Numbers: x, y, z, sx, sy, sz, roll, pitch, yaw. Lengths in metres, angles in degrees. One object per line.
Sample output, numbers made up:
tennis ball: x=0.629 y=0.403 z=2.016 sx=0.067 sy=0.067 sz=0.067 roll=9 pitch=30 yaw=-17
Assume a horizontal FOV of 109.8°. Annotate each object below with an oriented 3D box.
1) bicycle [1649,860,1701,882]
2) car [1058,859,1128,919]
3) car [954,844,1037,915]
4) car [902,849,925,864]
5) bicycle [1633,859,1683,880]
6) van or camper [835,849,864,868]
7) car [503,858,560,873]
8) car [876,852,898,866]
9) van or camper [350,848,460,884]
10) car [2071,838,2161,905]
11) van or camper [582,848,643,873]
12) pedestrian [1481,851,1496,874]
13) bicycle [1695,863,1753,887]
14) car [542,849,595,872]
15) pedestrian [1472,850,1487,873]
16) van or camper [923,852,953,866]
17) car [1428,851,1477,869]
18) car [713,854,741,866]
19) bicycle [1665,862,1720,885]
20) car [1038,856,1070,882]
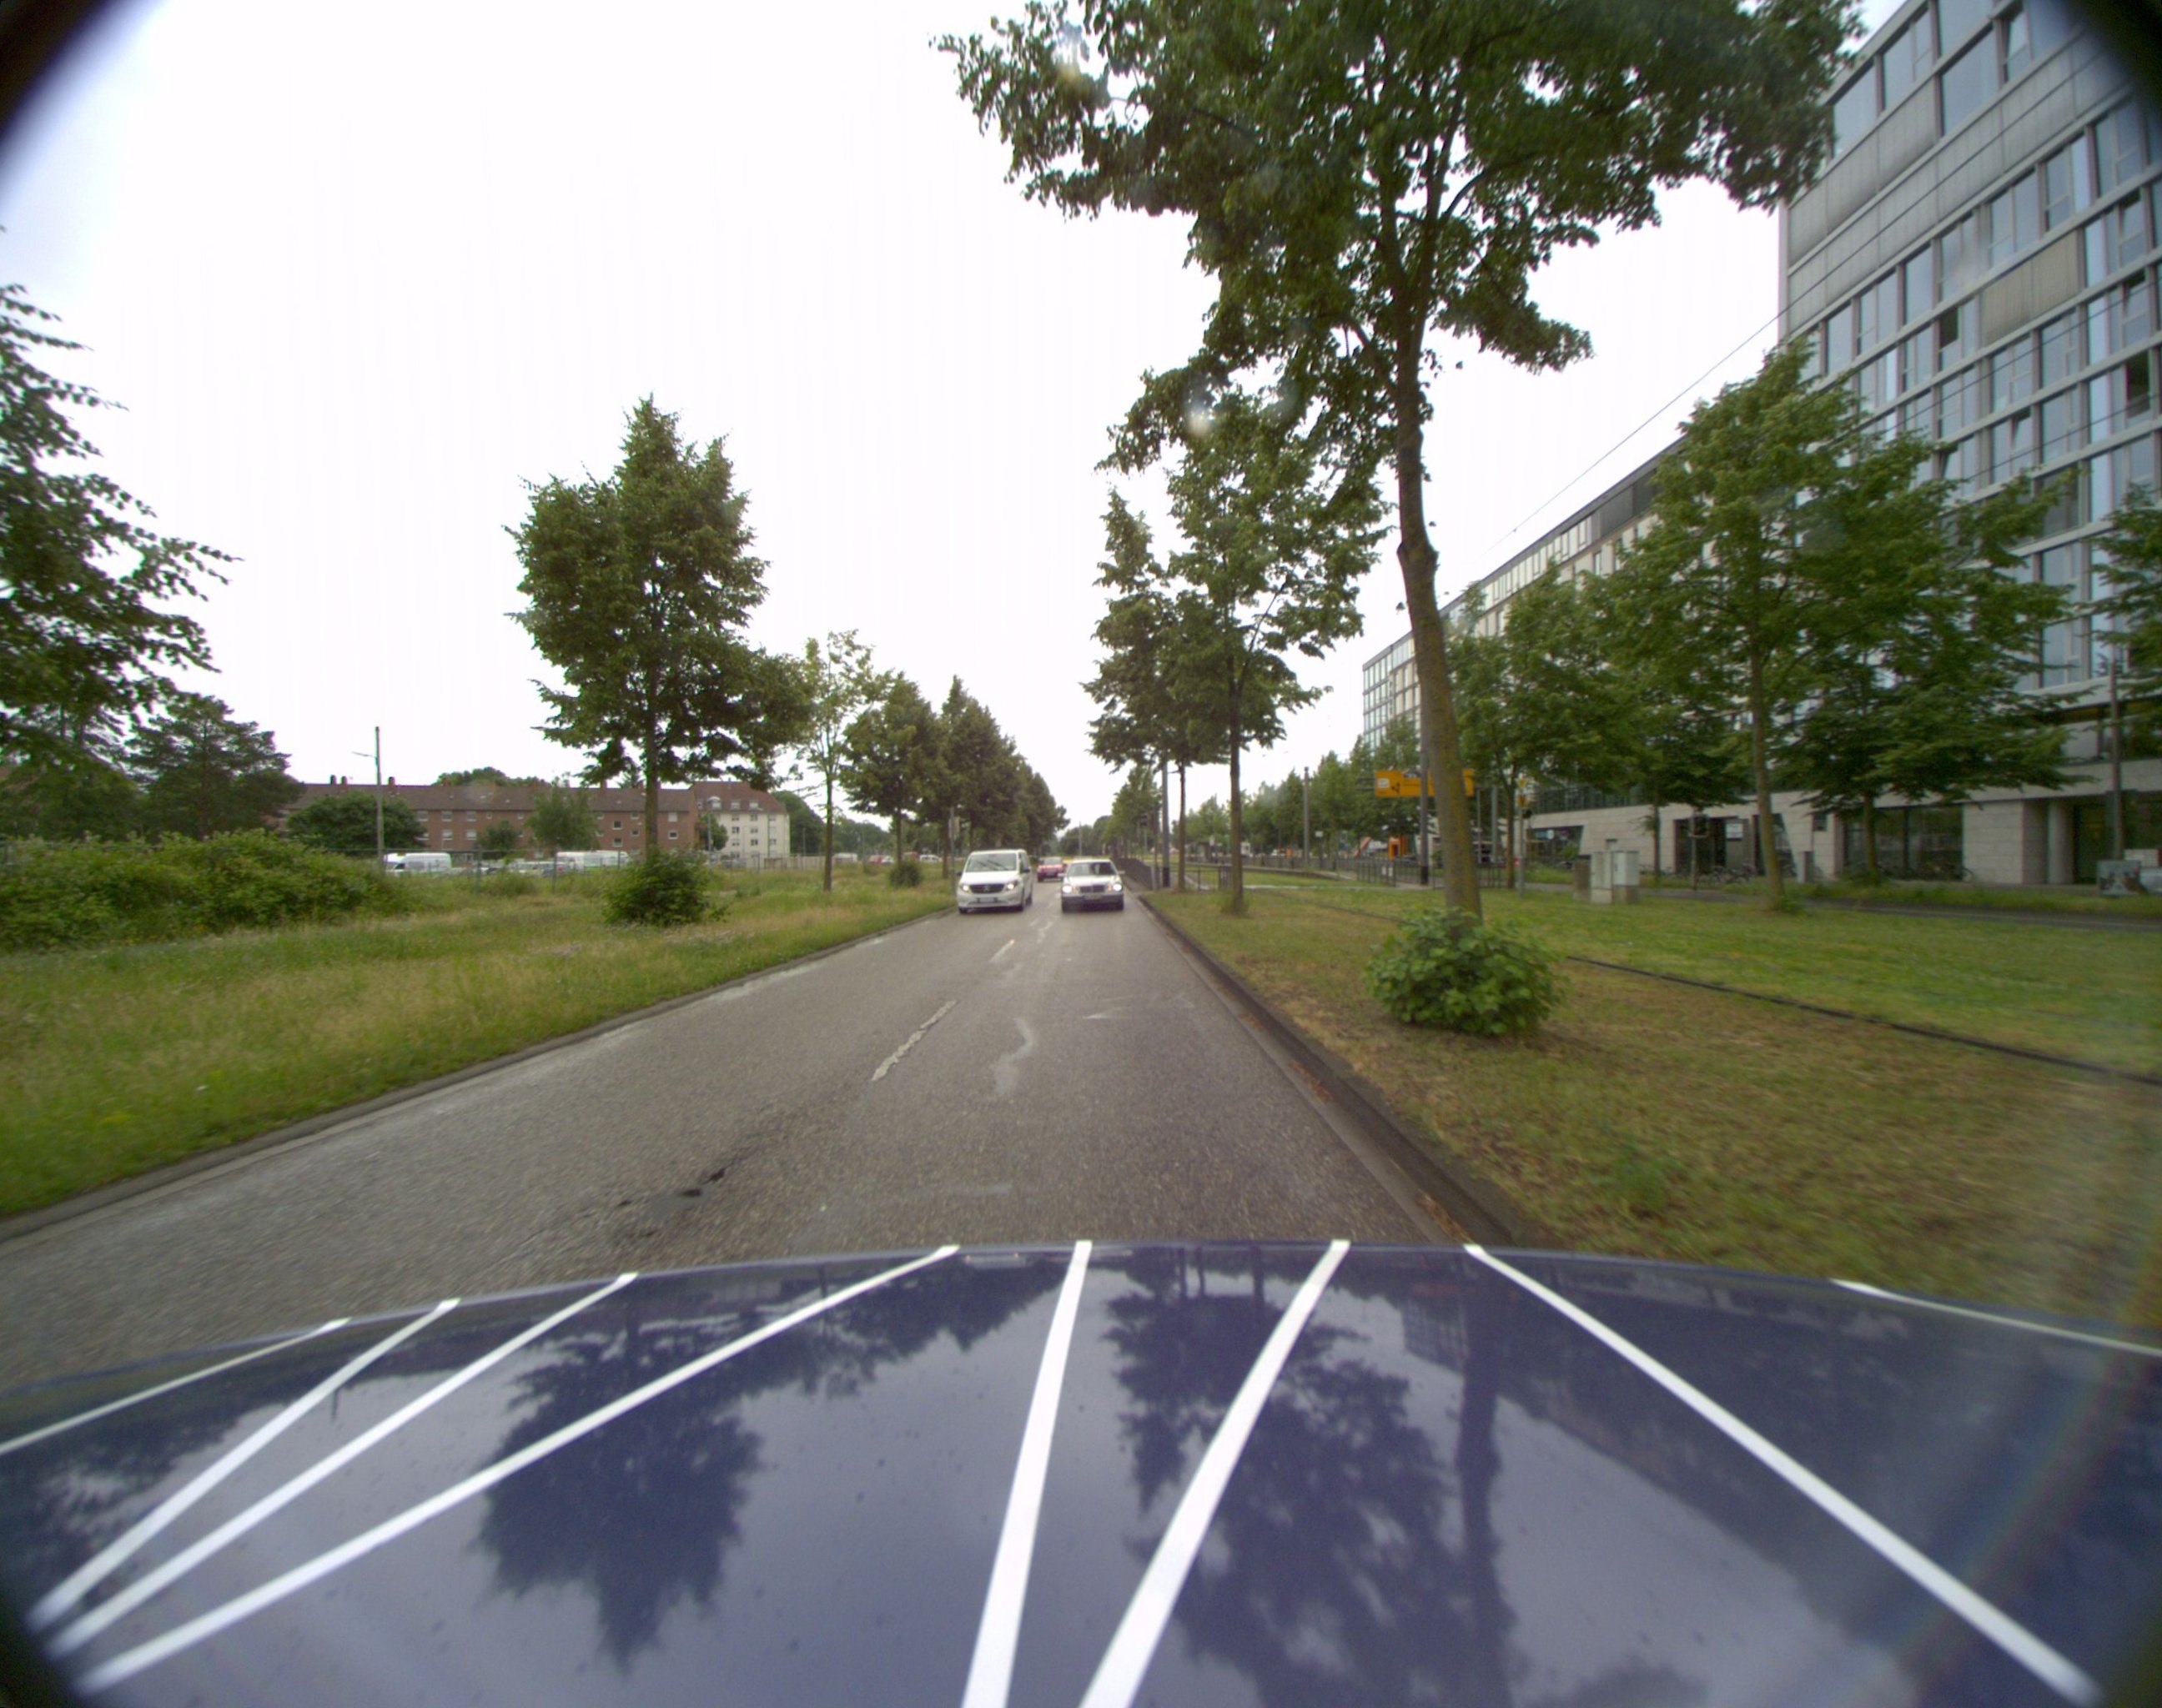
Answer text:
bicycle: x=29.285 y=0.813 z=37.458 sx=1.983 sy=1.029 sz=0.696 roll=-1 pitch=1 yaw=3
car: x=0.332 y=0.906 z=21.819 sx=1.738 sy=1.451 sz=4.607 roll=-1 pitch=0 yaw=1
car: x=-2.577 y=0.692 z=24.114 sx=1.972 sy=1.968 sz=5.091 roll=-1 pitch=1 yaw=1
car: x=-27.648 y=0.413 z=125.341 sx=1.996 sy=2.297 sz=4.004 roll=-1 pitch=0 yaw=14
bicycle: x=29.419 y=0.777 z=38.771 sx=1.983 sy=1.029 sz=0.696 roll=-1 pitch=1 yaw=3
van or camper: x=-40.135 y=0.780 z=131.805 sx=2.343 sy=3.017 sz=5.515 roll=-2 pitch=0 yaw=12
car: x=-52.213 y=1.093 z=72.331 sx=2.096 sy=1.344 sz=4.758 roll=-1 pitch=0 yaw=-2
car: x=-32.264 y=0.840 z=126.211 sx=1.997 sy=2.297 sz=4.003 roll=-1 pitch=0 yaw=10
van or camper: x=-51.929 y=0.885 z=58.627 sx=2.783 sy=2.521 sz=6.418 roll=-2 pitch=0 yaw=-1
car: x=28.744 y=0.442 z=19.010 sx=2.150 sy=1.702 sz=4.464 roll=-1 pitch=0 yaw=1
van or camper: x=-45.879 y=0.605 z=74.670 sx=2.208 sy=2.294 sz=6.148 roll=-2 pitch=0 yaw=-1
pedestrian: x=30.344 y=0.593 z=56.544 sx=0.712 sy=1.681 sz=0.793 roll=-1 pitch=1 yaw=4
bicycle: x=28.891 y=0.946 z=34.142 sx=1.983 sy=1.029 sz=0.696 roll=-1 pitch=1 yaw=3
car: x=-52.631 y=0.638 z=78.170 sx=2.278 sy=2.207 sz=4.758 roll=-1 pitch=0 yaw=-2
pedestrian: x=29.557 y=0.570 z=56.396 sx=0.712 sy=1.681 sz=0.793 roll=-1 pitch=1 yaw=4
van or camper: x=-22.265 y=0.804 z=118.443 sx=4.334 sy=2.002 sz=1.860 roll=-2 pitch=0 yaw=-5
car: x=28.988 y=0.477 z=59.423 sx=1.998 sy=1.281 sz=4.070 roll=-1 pitch=1 yaw=3
car: x=-46.724 y=0.765 z=100.365 sx=2.000 sy=1.379 sz=4.565 roll=-3 pitch=0 yaw=-6
bicycle: x=28.927 y=0.931 z=35.953 sx=1.983 sy=1.029 sz=0.696 roll=-1 pitch=1 yaw=3
car: x=-1.772 y=0.972 z=51.041 sx=1.799 sy=1.603 sz=4.246 roll=-1 pitch=0 yaw=2
